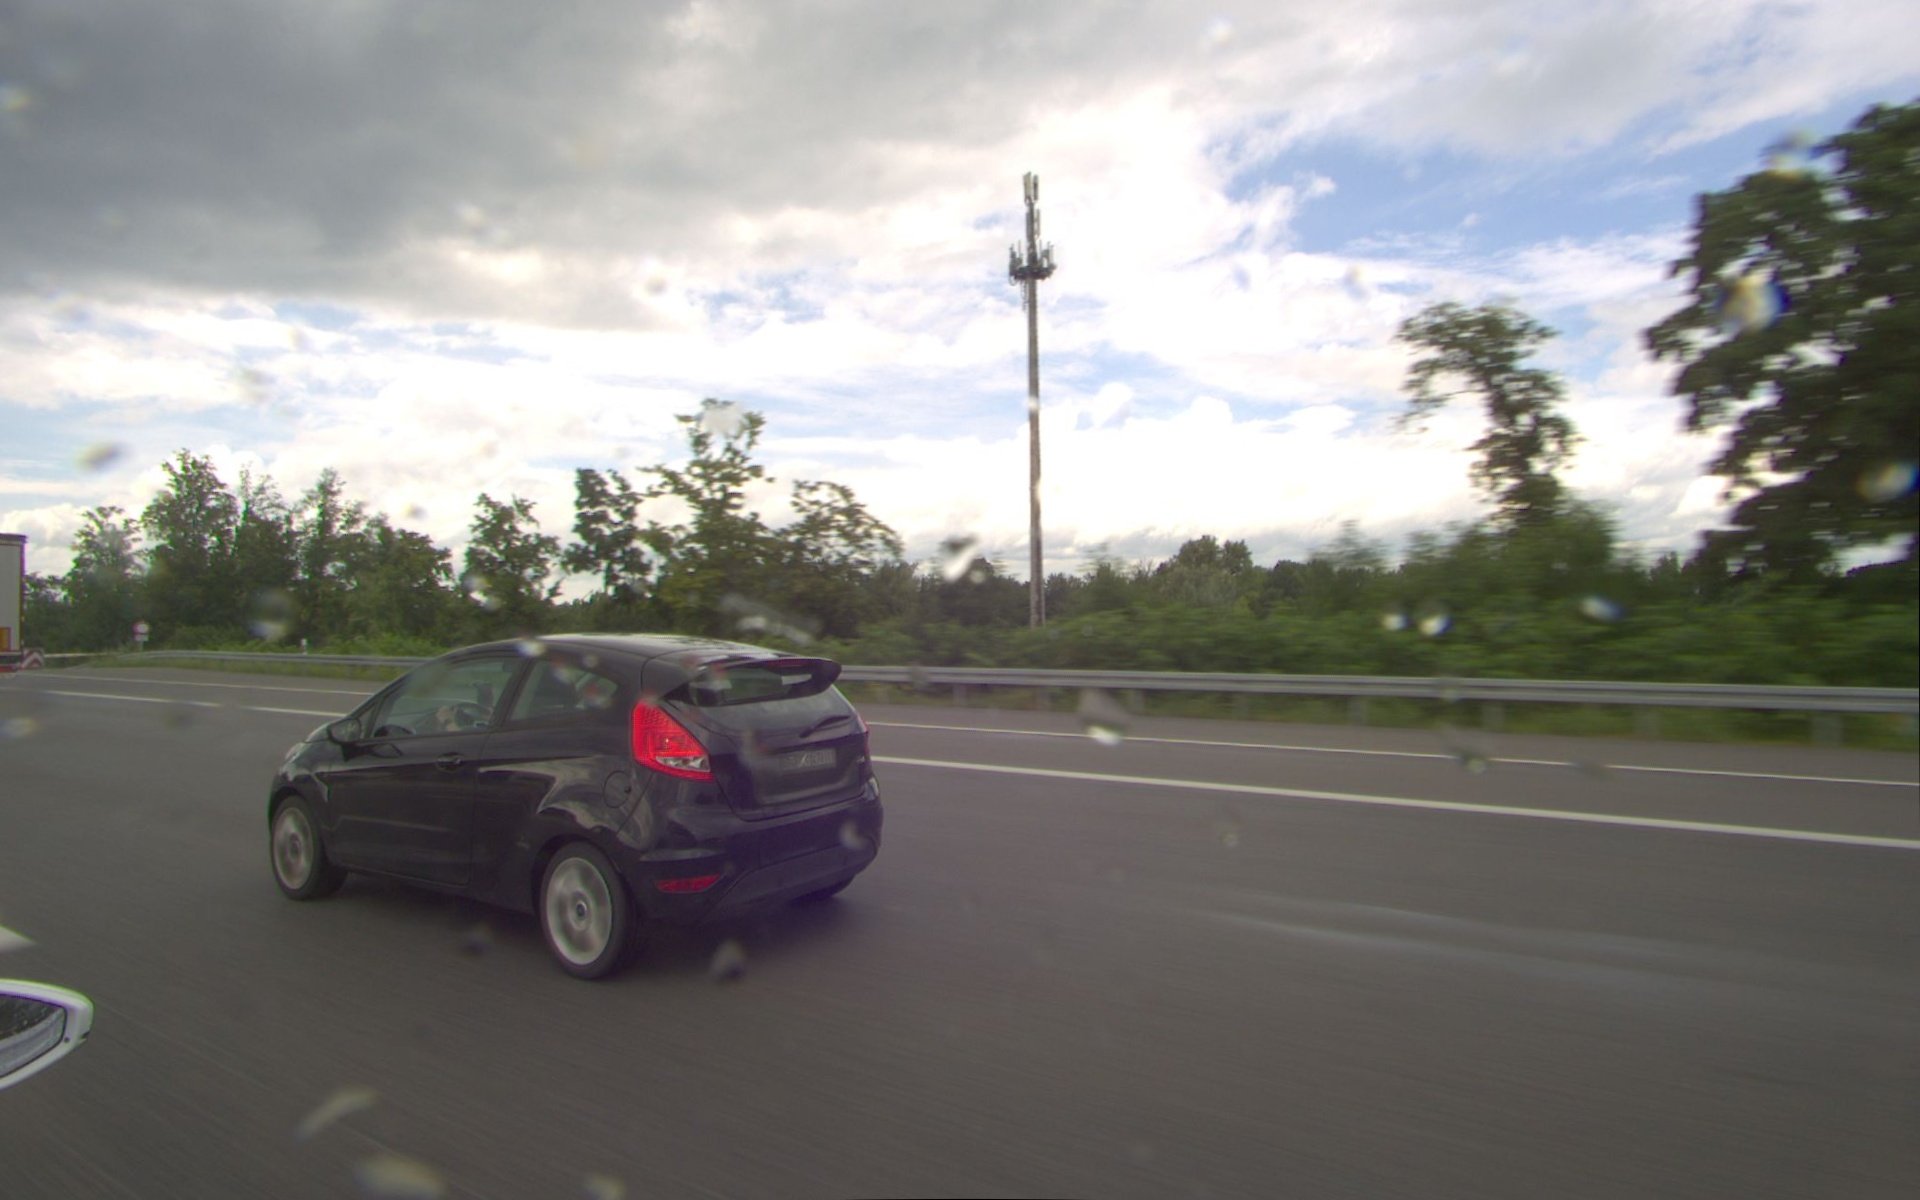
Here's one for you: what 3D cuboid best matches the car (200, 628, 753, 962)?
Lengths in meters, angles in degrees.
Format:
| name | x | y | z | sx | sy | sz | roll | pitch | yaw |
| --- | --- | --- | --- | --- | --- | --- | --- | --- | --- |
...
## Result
| name | x | y | z | sx | sy | sz | roll | pitch | yaw |
| --- | --- | --- | --- | --- | --- | --- | --- | --- | --- |
| car | -2.863 | 0.892 | 5.818 | 3.117 | 1.460 | 1.445 | -1 | -1 | 31 |

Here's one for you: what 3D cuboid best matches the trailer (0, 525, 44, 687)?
| name | x | y | z | sx | sy | sz | roll | pitch | yaw |
| --- | --- | --- | --- | --- | --- | --- | --- | --- | --- |
| trailer | -30.220 | 0.216 | 28.401 | 13.921 | 4.072 | 2.955 | -1 | -1 | 34 |
